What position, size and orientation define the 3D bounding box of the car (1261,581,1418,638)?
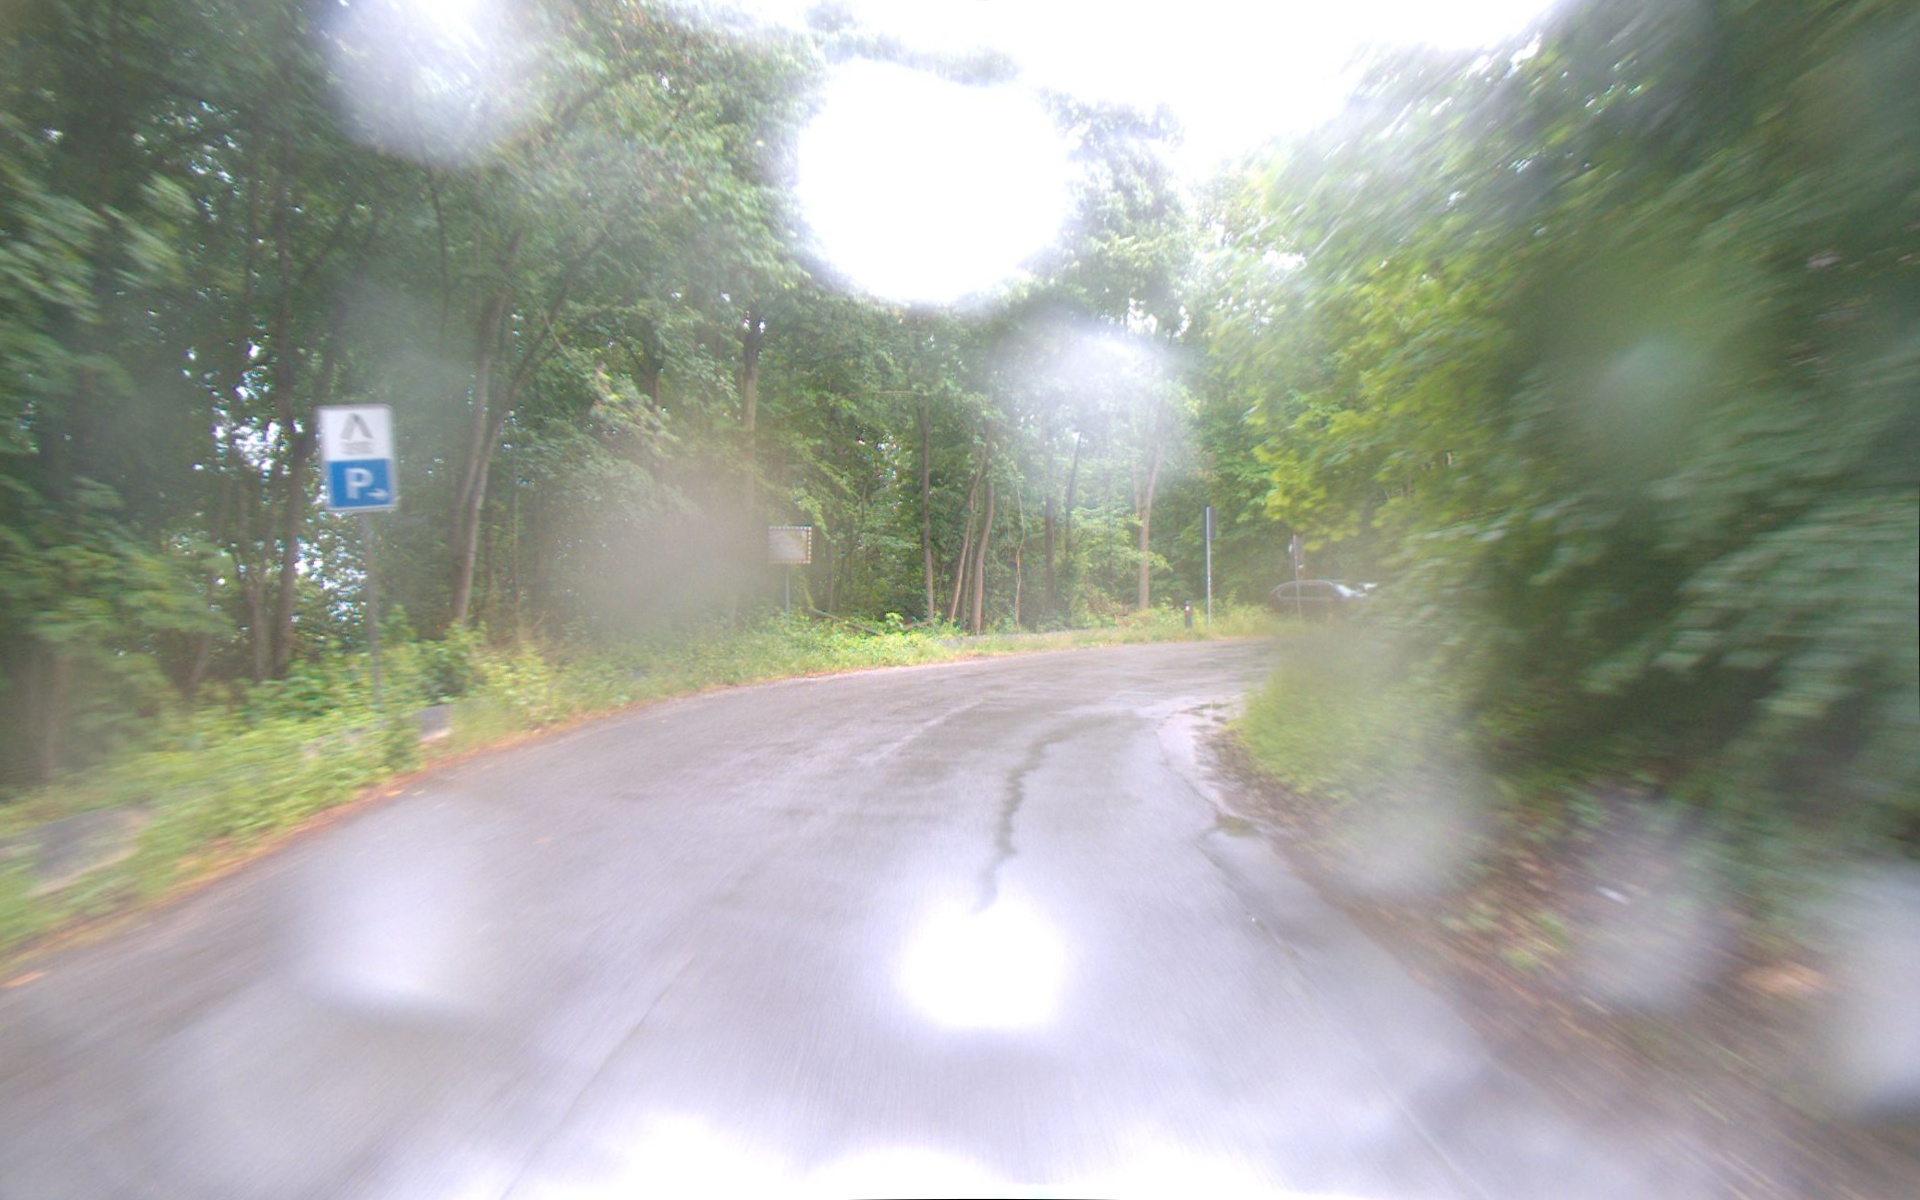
[{"bbox_3d":[12.291,0.315,53.781,1.861,1.706,4.766,-3,1,-42],"label":"car"}]
